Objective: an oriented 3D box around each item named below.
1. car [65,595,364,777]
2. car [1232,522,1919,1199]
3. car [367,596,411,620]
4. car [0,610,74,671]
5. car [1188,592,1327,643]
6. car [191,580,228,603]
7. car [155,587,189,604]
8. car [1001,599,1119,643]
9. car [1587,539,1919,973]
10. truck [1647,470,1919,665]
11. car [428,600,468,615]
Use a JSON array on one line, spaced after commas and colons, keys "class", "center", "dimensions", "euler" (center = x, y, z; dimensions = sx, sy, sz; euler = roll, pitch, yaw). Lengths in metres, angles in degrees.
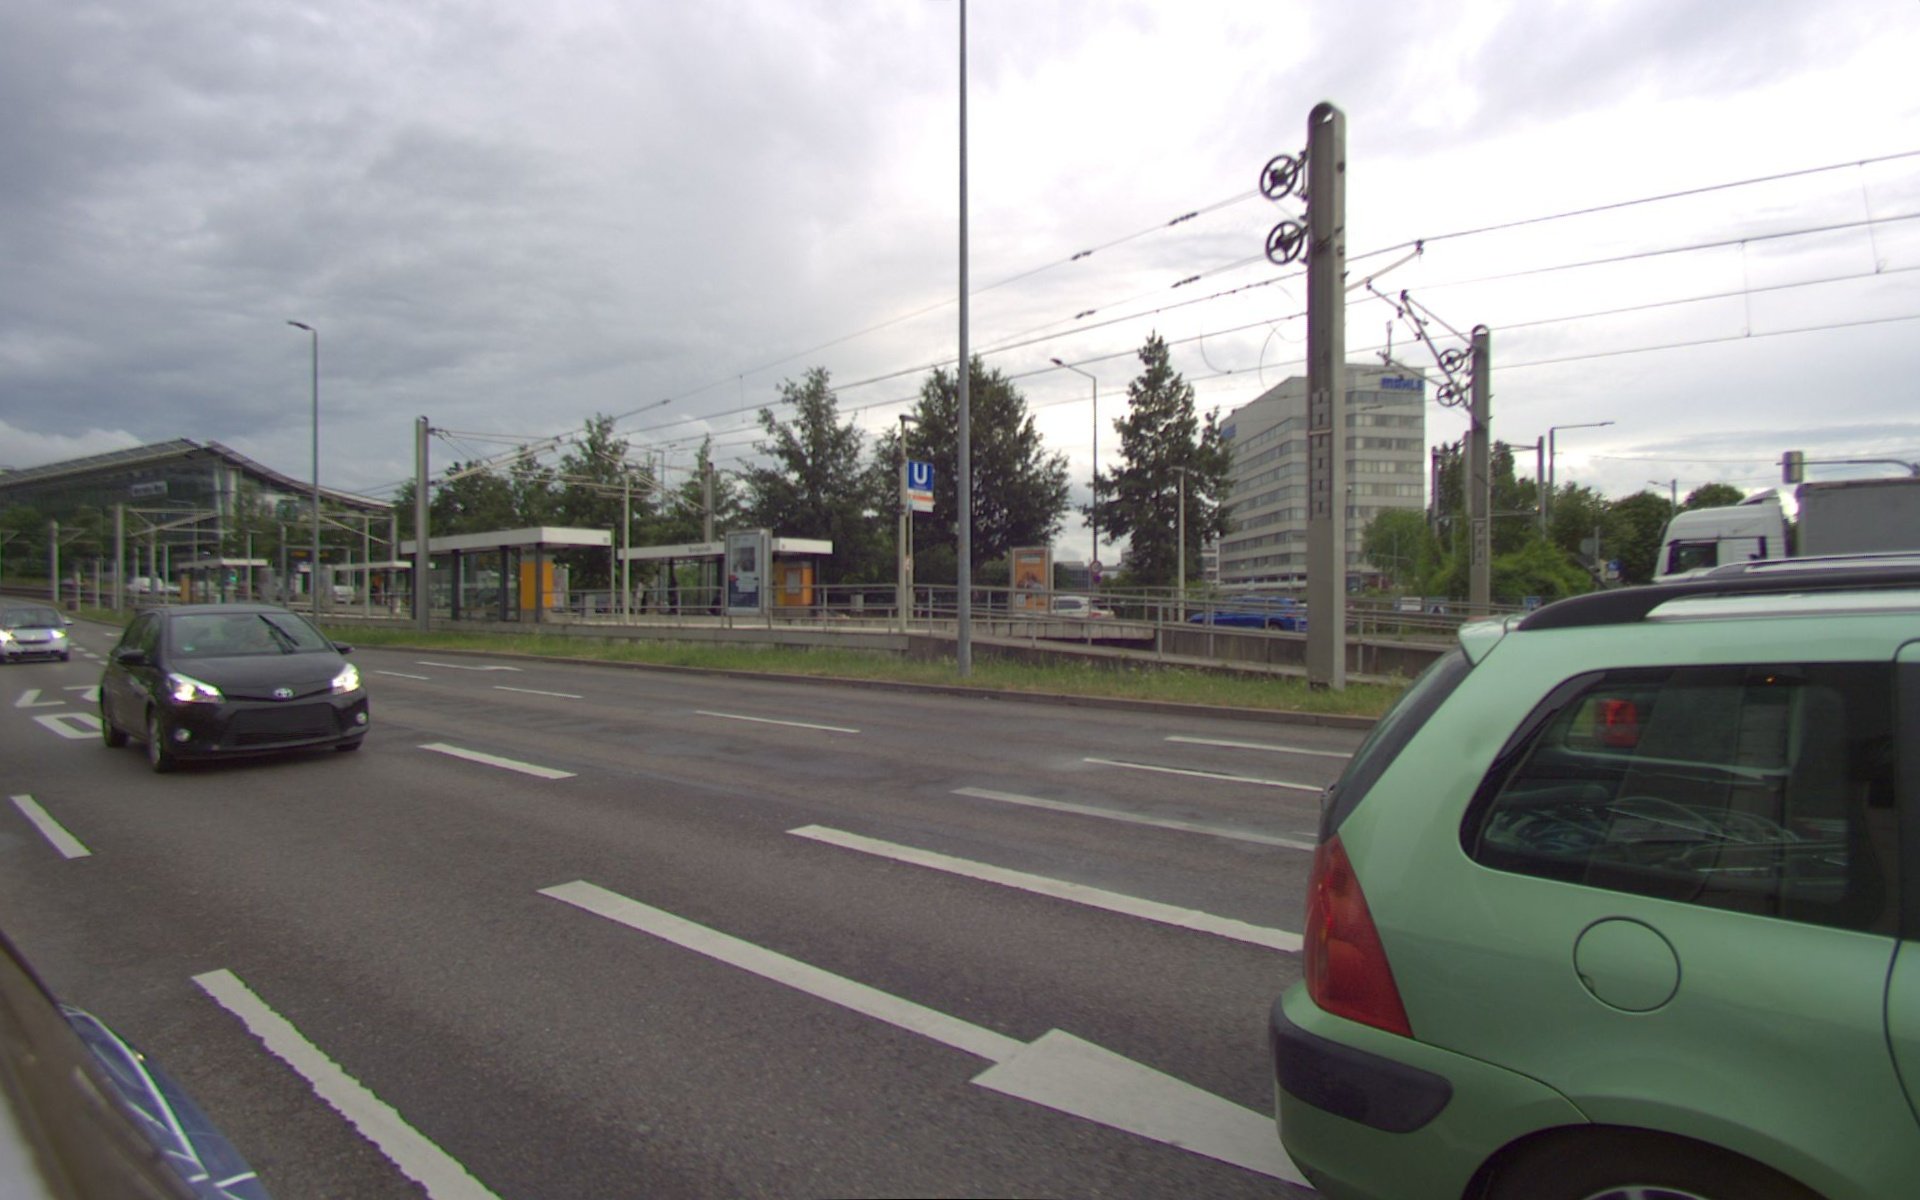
[{"class": "car", "center": [-7.898, 0.774, 10.599], "dimensions": [3.902, 1.534, 1.675], "euler": [-2, 0, 41]}, {"class": "car", "center": [2.791, 0.603, 1.342], "dimensions": [4.396, 1.479, 1.679], "euler": [0, 2, 37]}, {"class": "car", "center": [-42.814, 0.589, 75.902], "dimensions": [4.267, 1.679, 1.512], "euler": [1, 3, 41]}, {"class": "car", "center": [-25.806, 1.067, 28.126], "dimensions": [1.714, 1.489, 4.006], "euler": [-2, 2, -41]}, {"class": "car", "center": [10.523, 0.557, 35.922], "dimensions": [4.313, 1.640, 1.975], "euler": [0, 2, 37]}, {"class": "car", "center": [-76.031, -0.870, 102.562], "dimensions": [5.143, 2.230, 1.973], "euler": [1, 3, 42]}, {"class": "car", "center": [-88.210, -0.512, 113.250], "dimensions": [5.027, 1.744, 1.973], "euler": [1, 3, 41]}, {"class": "car", "center": [3.722, 0.742, 37.922], "dimensions": [4.149, 1.473, 1.721], "euler": [1, 3, 40]}, {"class": "car", "center": [4.866, 0.541, 3.640], "dimensions": [4.193, 1.604, 1.708], "euler": [0, 2, 43]}, {"class": "truck", "center": [19.408, -0.647, 23.072], "dimensions": [5.979, 4.026, 2.804], "euler": [-1, -1, 39]}, {"class": "car", "center": [-43.126, 0.625, 85.239], "dimensions": [3.931, 1.139, 1.511], "euler": [1, 3, 40]}]
